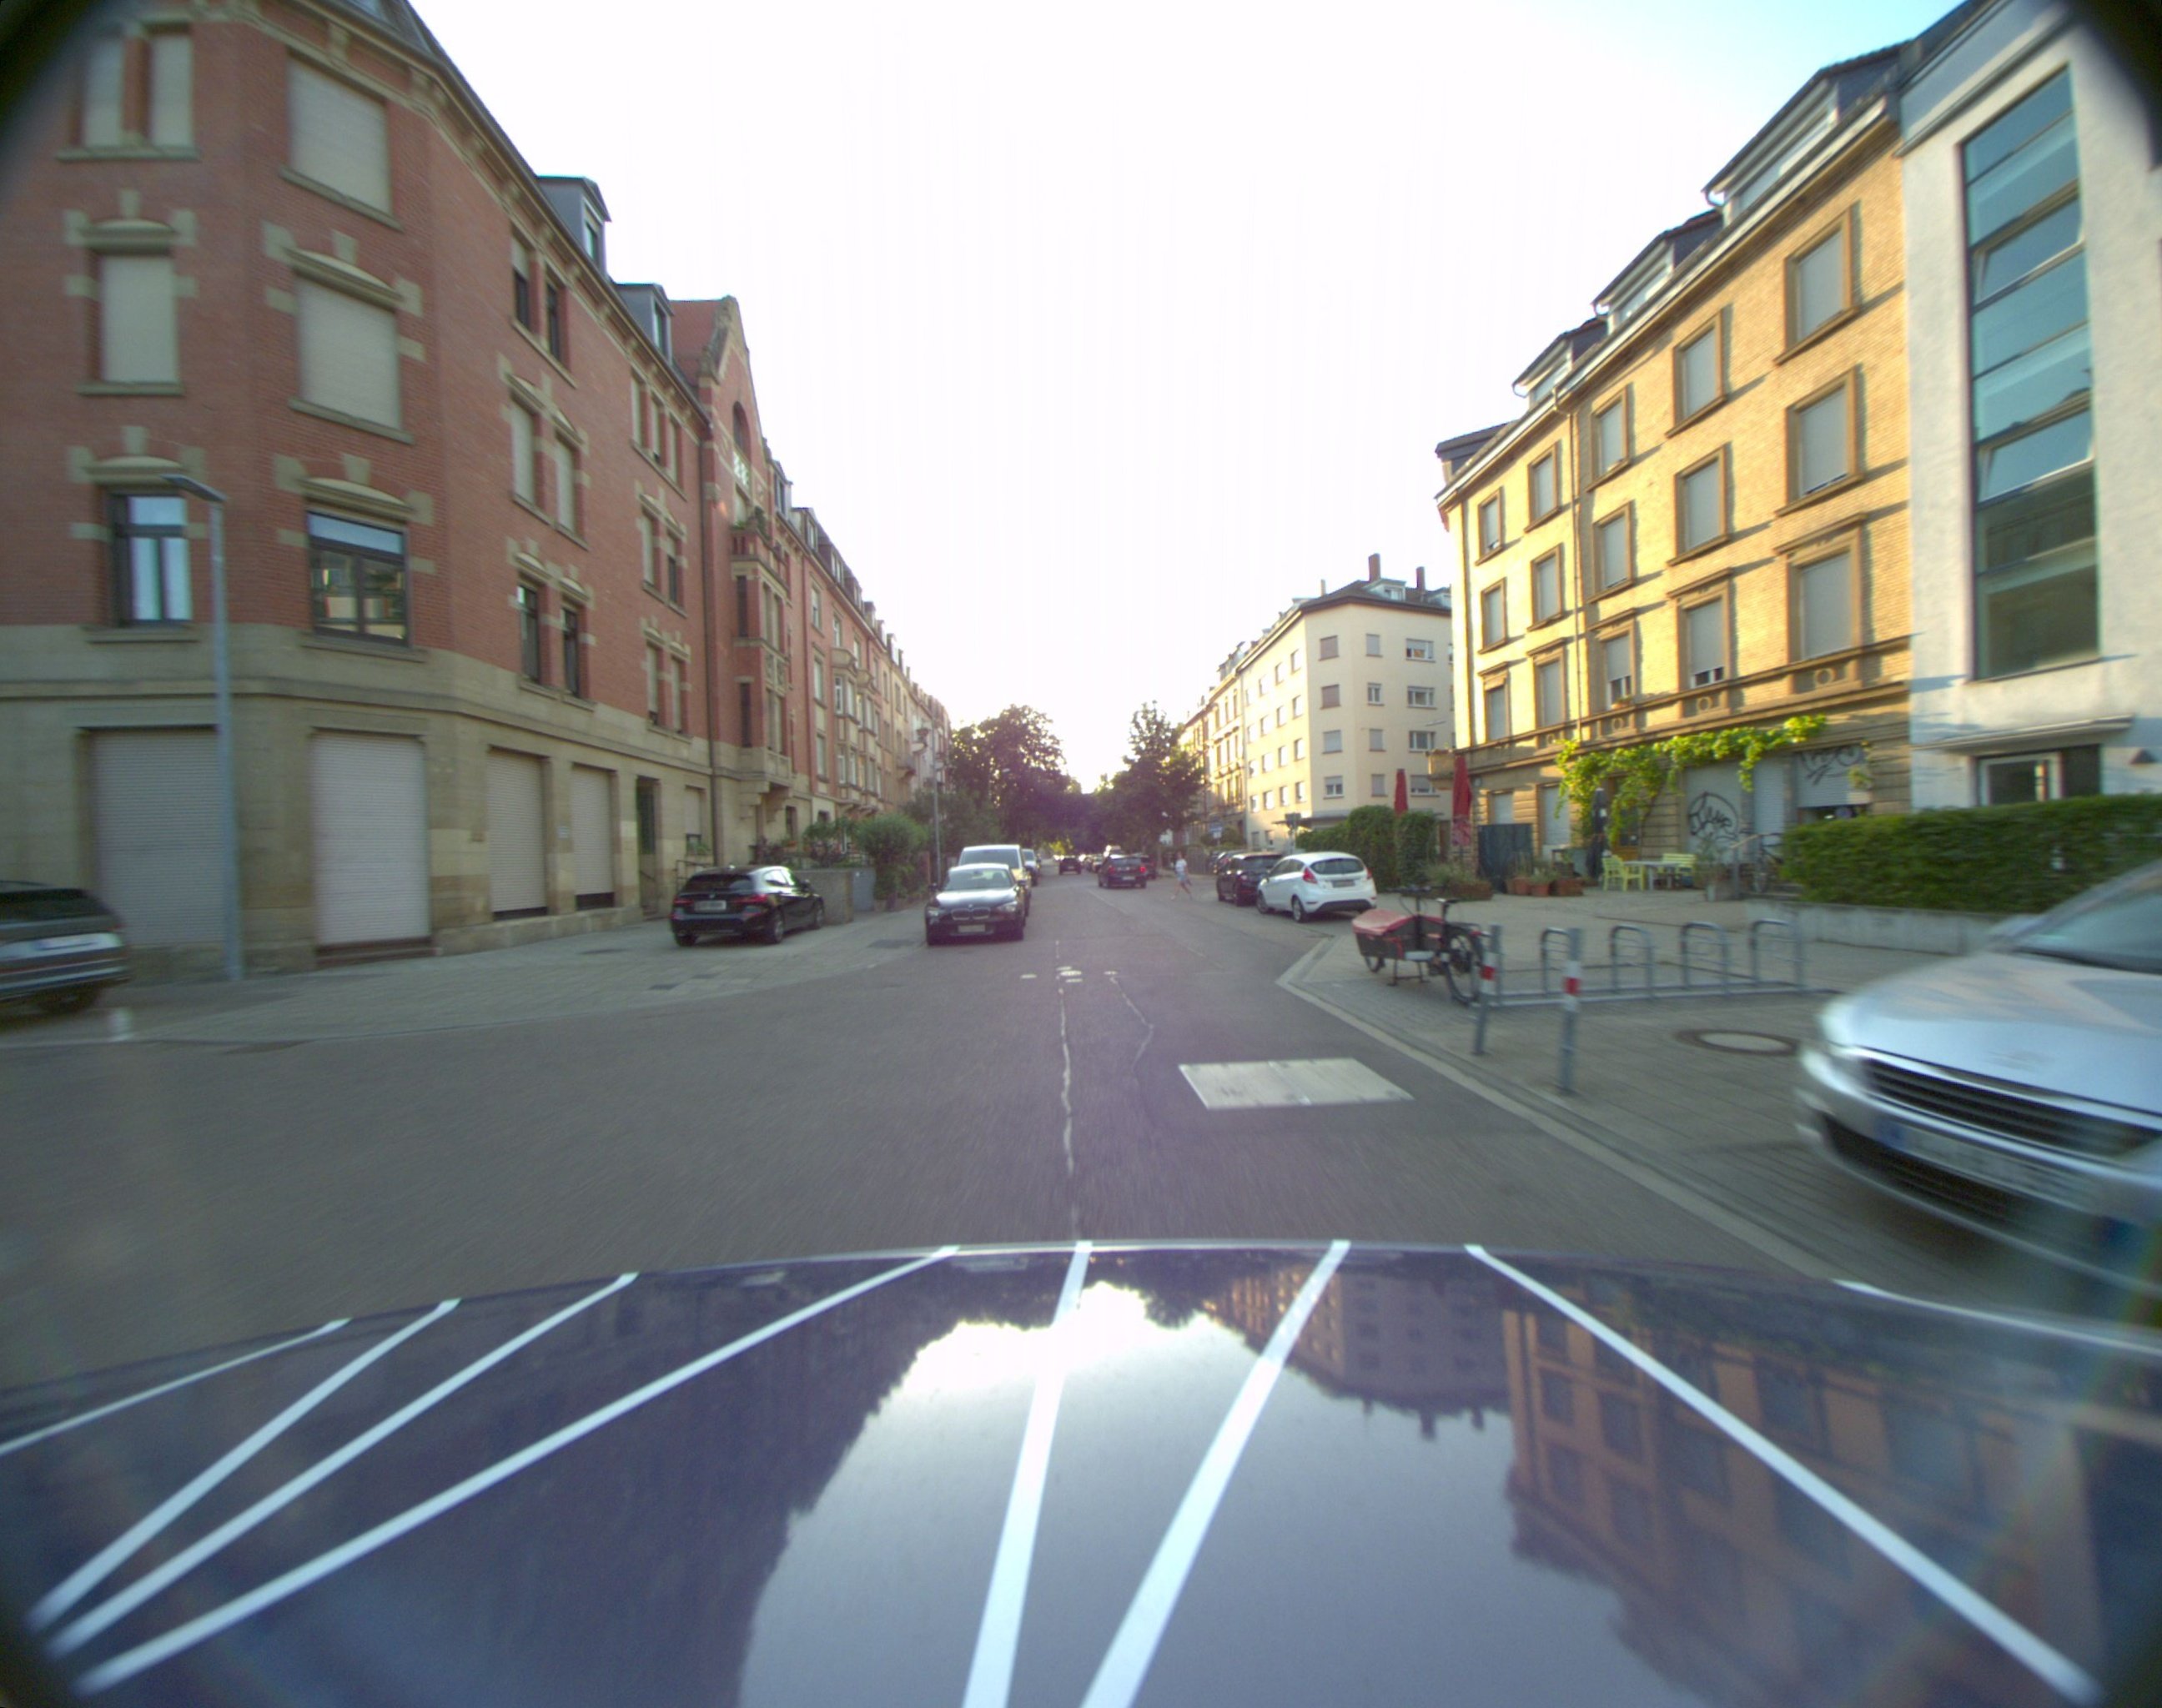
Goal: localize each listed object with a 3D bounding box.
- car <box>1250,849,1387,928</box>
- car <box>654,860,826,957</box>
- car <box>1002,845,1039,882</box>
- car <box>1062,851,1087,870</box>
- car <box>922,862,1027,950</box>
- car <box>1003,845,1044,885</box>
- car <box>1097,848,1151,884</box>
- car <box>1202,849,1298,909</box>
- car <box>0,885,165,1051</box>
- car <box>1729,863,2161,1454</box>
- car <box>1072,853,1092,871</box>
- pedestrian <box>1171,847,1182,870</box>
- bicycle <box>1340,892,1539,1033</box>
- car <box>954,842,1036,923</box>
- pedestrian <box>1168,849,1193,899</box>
[{"bbox_3d":[5.268,0.689,17.327,1.679,1.502,3.580,-4,1,-5],"label":"car"},{"bbox_3d":[-6.447,0.942,14.905,1.800,1.515,3.998,-2,1,-5],"label":"car"},{"bbox_3d":[-3.637,0.534,45.396,1.999,2.002,3.998,-2,1,-5],"label":"car"},{"bbox_3d":[-0.587,0.559,64.866,1.891,1.513,3.998,-2,1,-3],"label":"car"},{"bbox_3d":[-1.984,0.910,14.890,1.733,1.367,3.761,-2,1,-5],"label":"car"},{"bbox_3d":[-3.124,0.541,40.843,1.999,2.002,3.998,-2,1,-5],"label":"car"},{"bbox_3d":[1.790,0.476,32.710,1.763,1.478,3.781,0,1,-5],"label":"car"},{"bbox_3d":[4.846,0.655,22.296,1.597,1.514,3.736,-4,1,-5],"label":"car"},{"bbox_3d":[-13.575,1.312,8.397,4.346,1.656,1.779,-2,1,-5],"label":"car"},{"bbox_3d":[4.770,0.768,2.530,3.990,1.408,1.803,-4,1,-10],"label":"car"},{"bbox_3d":[0.101,0.942,91.274,1.999,2.002,3.998,-2,1,-5],"label":"car"},{"bbox_3d":[6.371,0.299,50.807,0.645,1.525,0.638,-2,1,-1],"label":"pedestrian"},{"bbox_3d":[3.506,0.995,7.759,0.805,1.047,2.414,-2,1,-2],"label":"bicycle"},{"bbox_3d":[-2.281,0.683,20.637,1.940,1.893,4.053,-2,1,-5],"label":"car"},{"bbox_3d":[3.211,0.629,24.518,0.601,1.565,0.638,-2,1,-9],"label":"pedestrian"}]
